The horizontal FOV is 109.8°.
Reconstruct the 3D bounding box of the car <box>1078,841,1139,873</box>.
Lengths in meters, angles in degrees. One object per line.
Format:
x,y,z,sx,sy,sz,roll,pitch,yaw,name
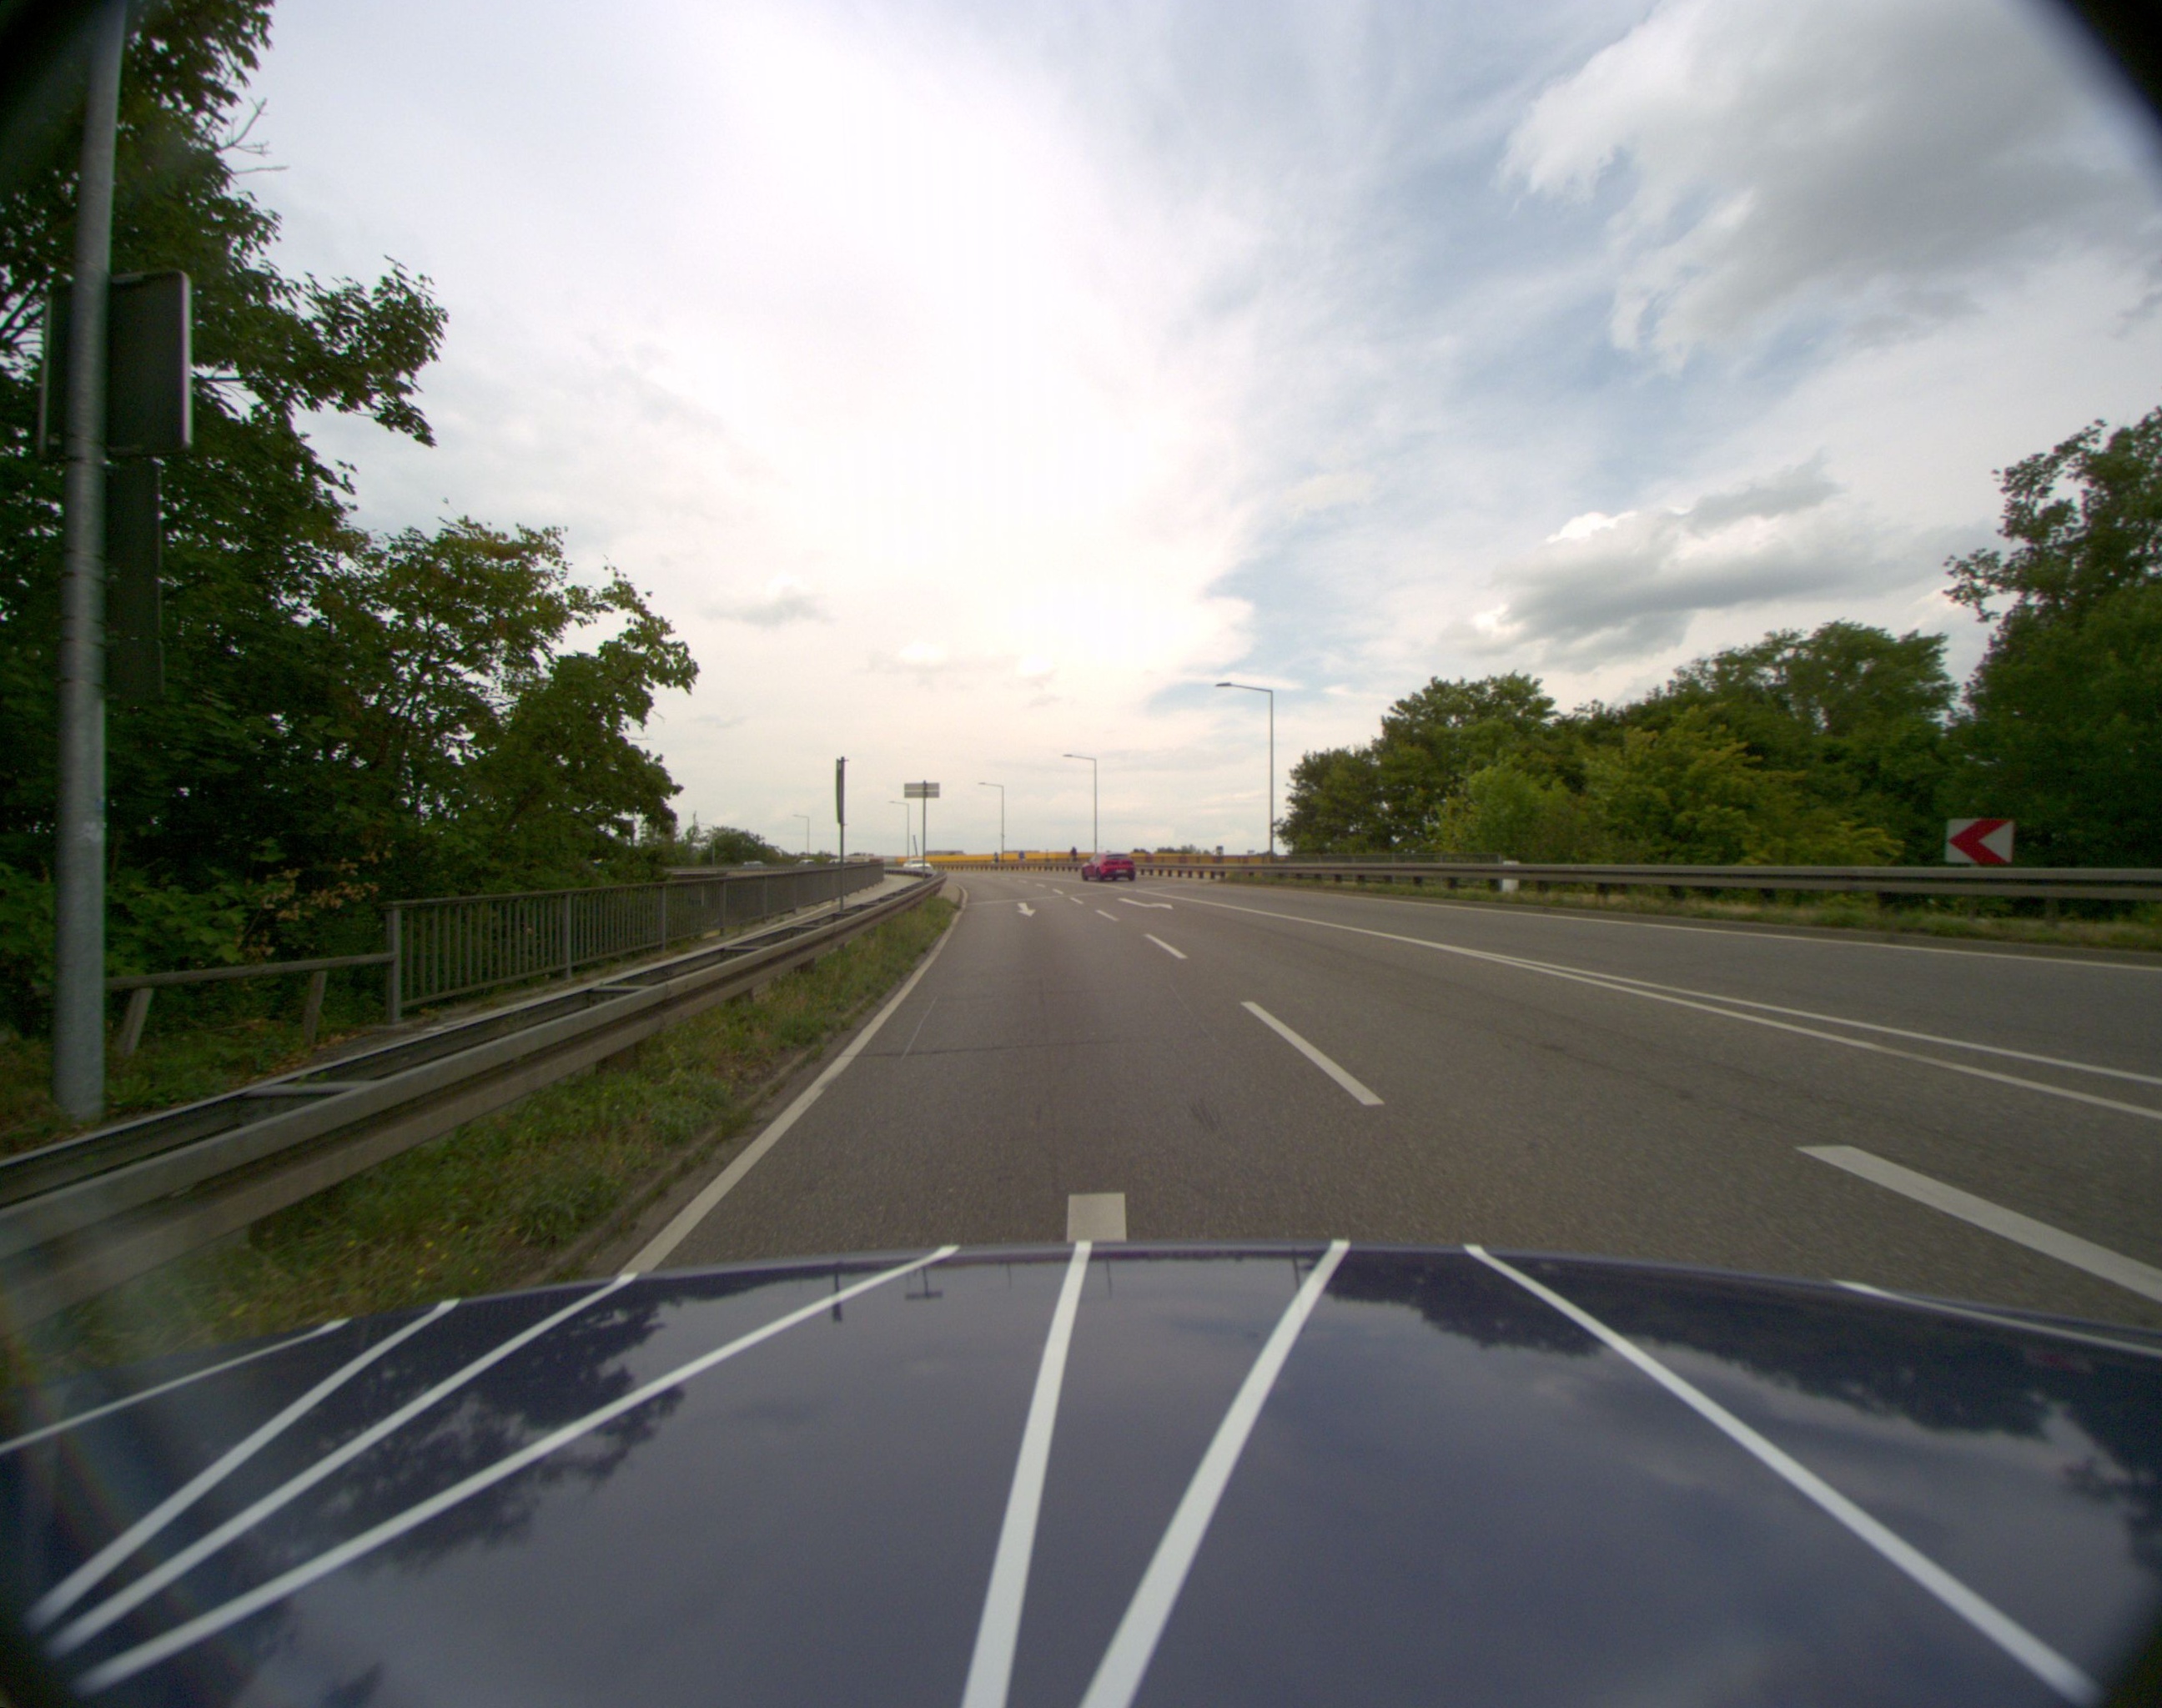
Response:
1.305,0.105,38.105,1.802,1.463,4.629,-2,1,-14,car

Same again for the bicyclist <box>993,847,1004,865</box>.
-8.221,0.179,75.869,0.852,1.798,0.795,-2,1,-29,bicyclist

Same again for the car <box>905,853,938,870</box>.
-14.368,0.648,68.312,1.942,1.448,3.877,2,0,-26,car

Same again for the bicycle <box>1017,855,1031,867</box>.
-5.009,0.574,66.820,0.495,1.039,1.805,-2,1,-31,bicycle

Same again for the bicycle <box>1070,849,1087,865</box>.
-0.232,0.243,58.359,0.637,1.167,1.902,-2,1,-22,bicycle

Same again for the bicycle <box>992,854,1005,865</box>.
-8.259,0.539,75.942,0.649,1.061,1.757,-1,0,-29,bicycle

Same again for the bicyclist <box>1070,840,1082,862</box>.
-0.371,-0.240,58.600,0.774,1.622,0.648,-2,2,-19,bicyclist

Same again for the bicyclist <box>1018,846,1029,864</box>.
-5.082,0.085,66.887,0.613,1.531,0.755,-2,1,-32,bicyclist
